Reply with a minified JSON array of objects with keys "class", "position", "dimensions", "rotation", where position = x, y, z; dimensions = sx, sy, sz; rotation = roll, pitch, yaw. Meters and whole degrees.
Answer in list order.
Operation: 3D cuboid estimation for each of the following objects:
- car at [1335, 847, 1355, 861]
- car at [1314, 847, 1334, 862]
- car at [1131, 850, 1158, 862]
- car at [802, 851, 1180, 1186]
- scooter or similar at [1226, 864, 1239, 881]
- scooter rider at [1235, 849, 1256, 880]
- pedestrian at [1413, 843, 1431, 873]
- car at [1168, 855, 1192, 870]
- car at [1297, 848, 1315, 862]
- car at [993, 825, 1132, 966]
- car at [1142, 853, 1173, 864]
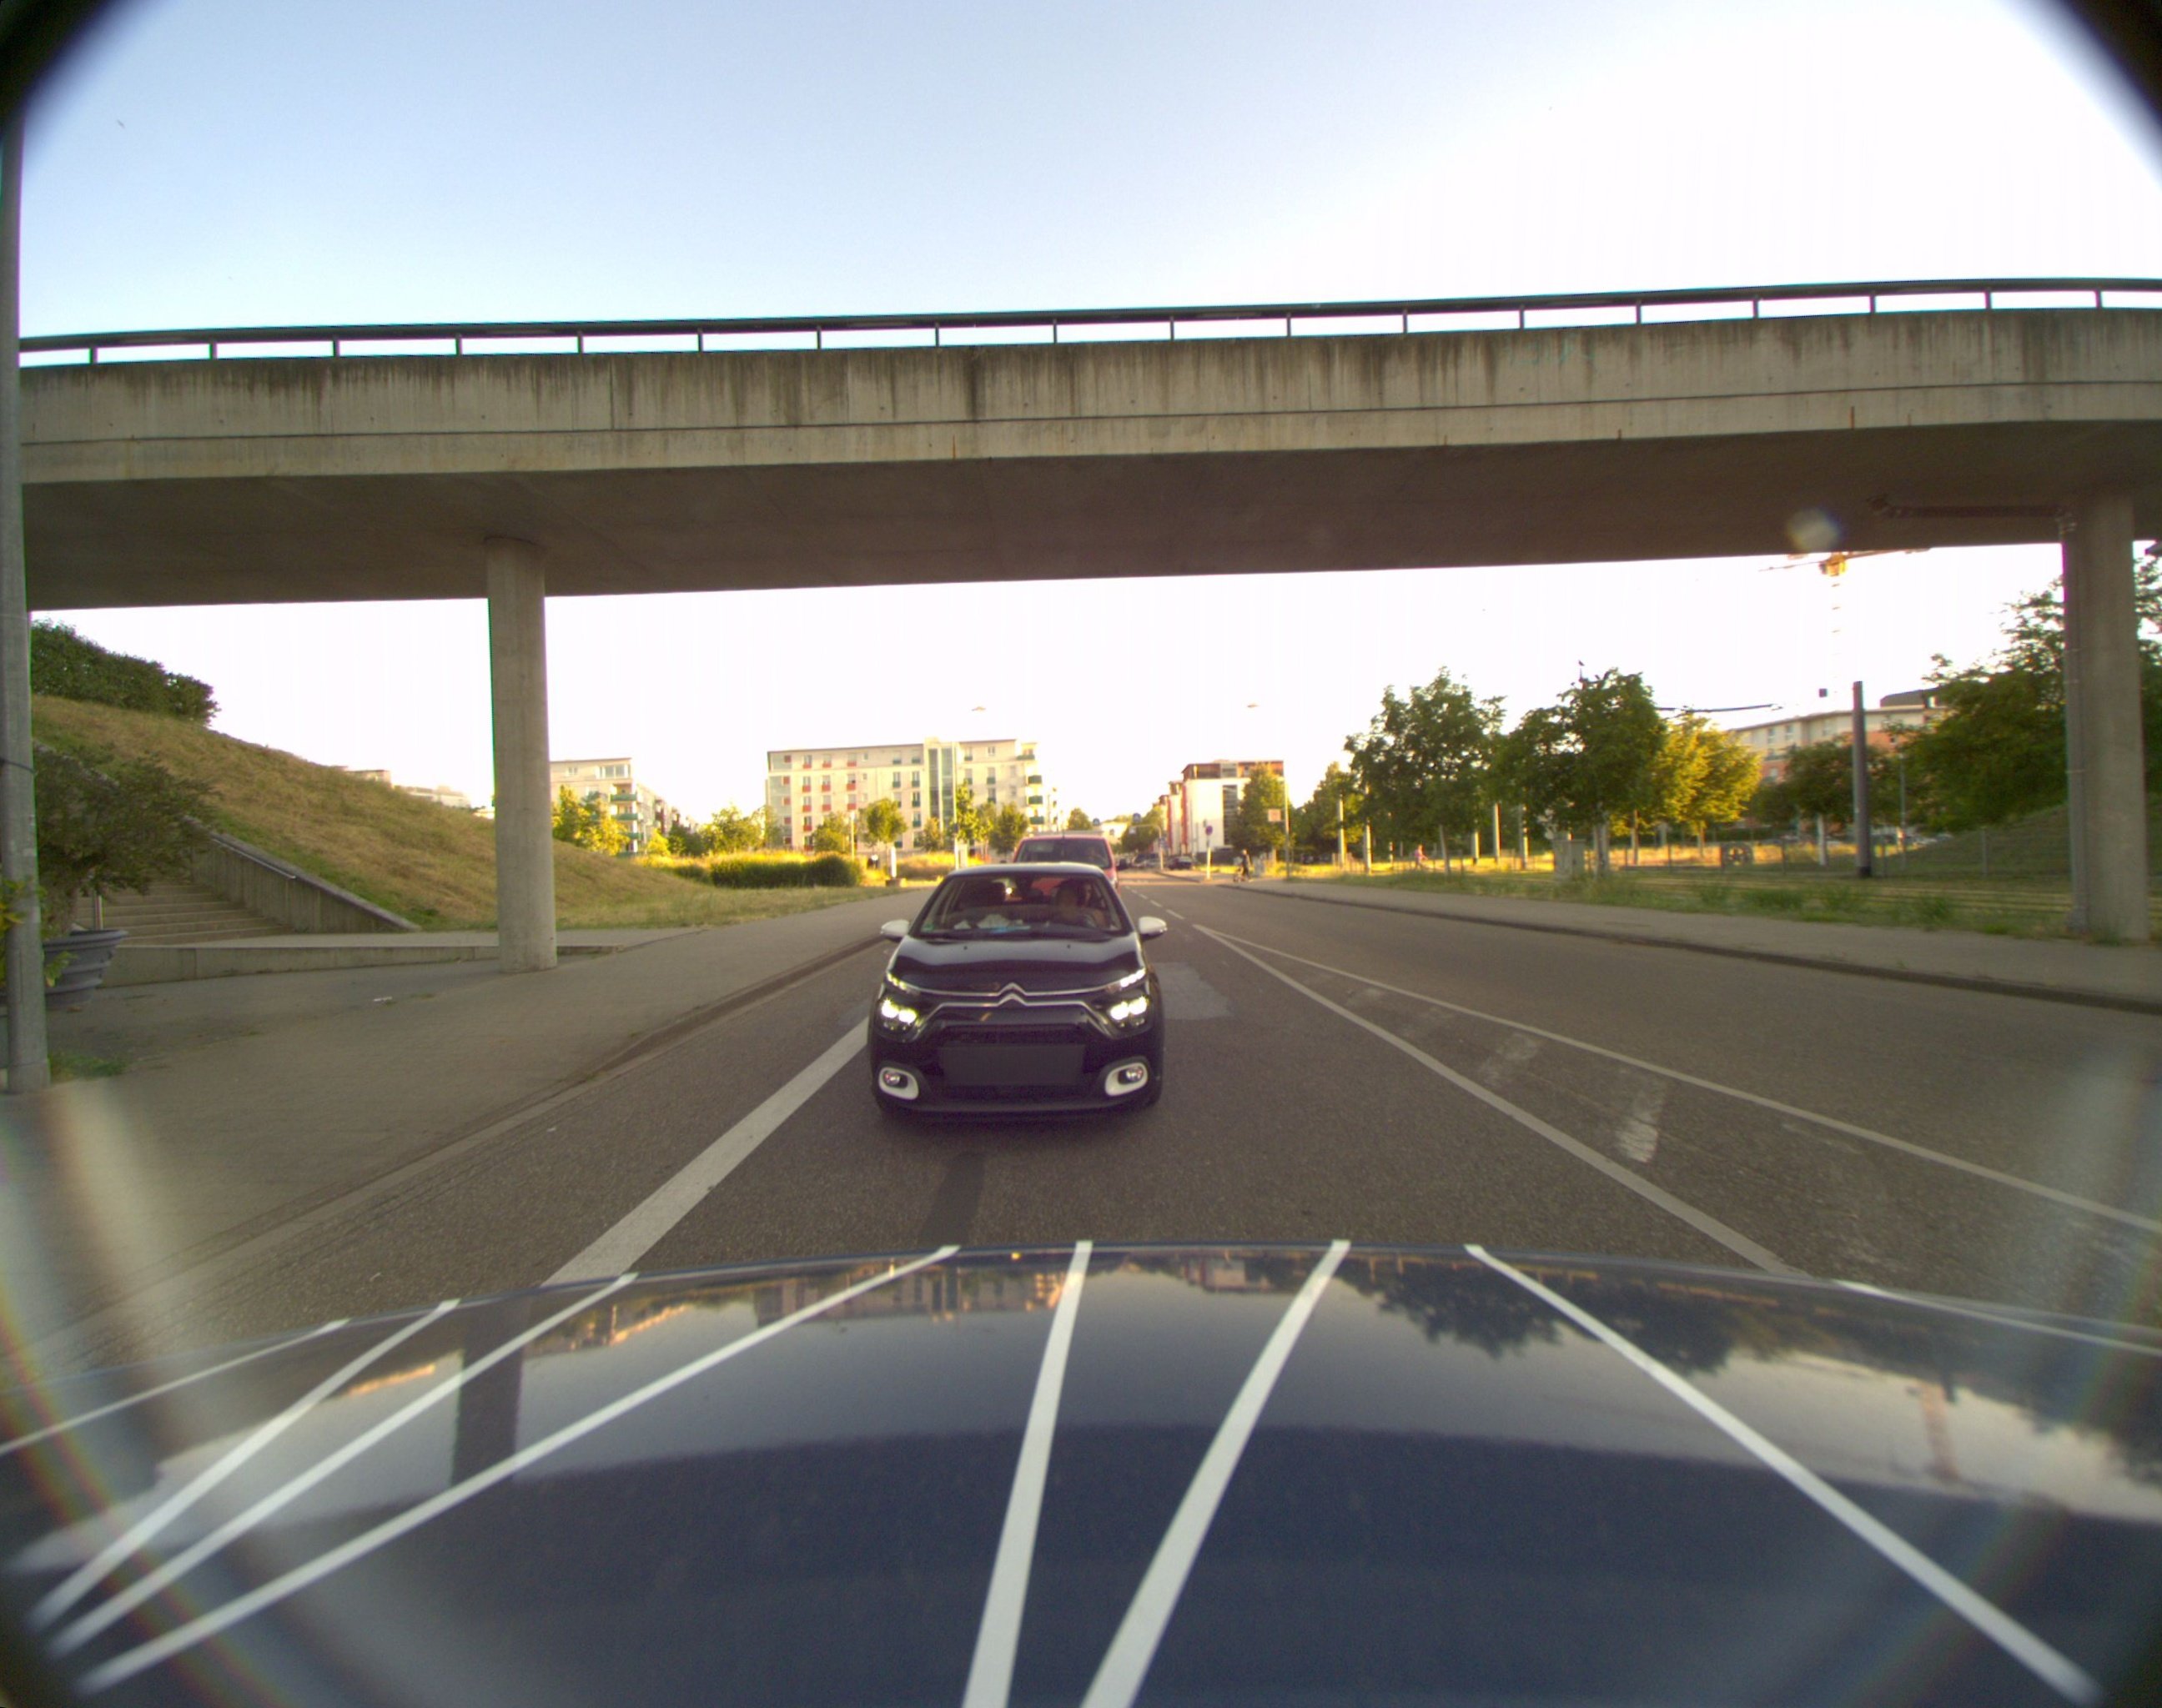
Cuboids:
[{"class":"car","position":[33.495,-0.046,96.570],"dimensions":[1.869,1.710,3.848],"rotation":[-2,0,12]},{"class":"car","position":[30.985,0.048,96.844],"dimensions":[1.869,1.710,3.848],"rotation":[-2,0,9]},{"class":"car","position":[11.991,0.368,144.161],"dimensions":[4.745,2.002,1.999],"rotation":[-2,1,-2]},{"class":"car","position":[-0.477,0.794,5.686],"dimensions":[1.760,1.543,4.071],"rotation":[-2,0,-2]},{"class":"scooter or similar","position":[8.019,0.964,40.204],"dimensions":[0.553,0.890,0.722],"rotation":[-1,1,2]},{"class":"scooter rider","position":[8.681,0.539,40.176],"dimensions":[0.898,1.568,0.712],"rotation":[-2,0,2]},{"class":"pedestrian","position":[18.089,0.208,40.345],"dimensions":[0.779,1.602,0.417],"rotation":[-2,0,12]},{"class":"car","position":[11.686,0.962,89.245],"dimensions":[1.996,1.554,4.005],"rotation":[-2,0,19]},{"class":"car","position":[28.771,0.135,97.177],"dimensions":[1.869,1.710,3.848],"rotation":[-2,0,12]},{"class":"car","position":[-0.290,0.615,13.523],"dimensions":[1.931,1.979,4.822],"rotation":[-3,0,-1]},{"class":"car","position":[11.453,0.662,113.984],"dimensions":[4.387,1.550,1.839],"rotation":[-2,1,2]}]
